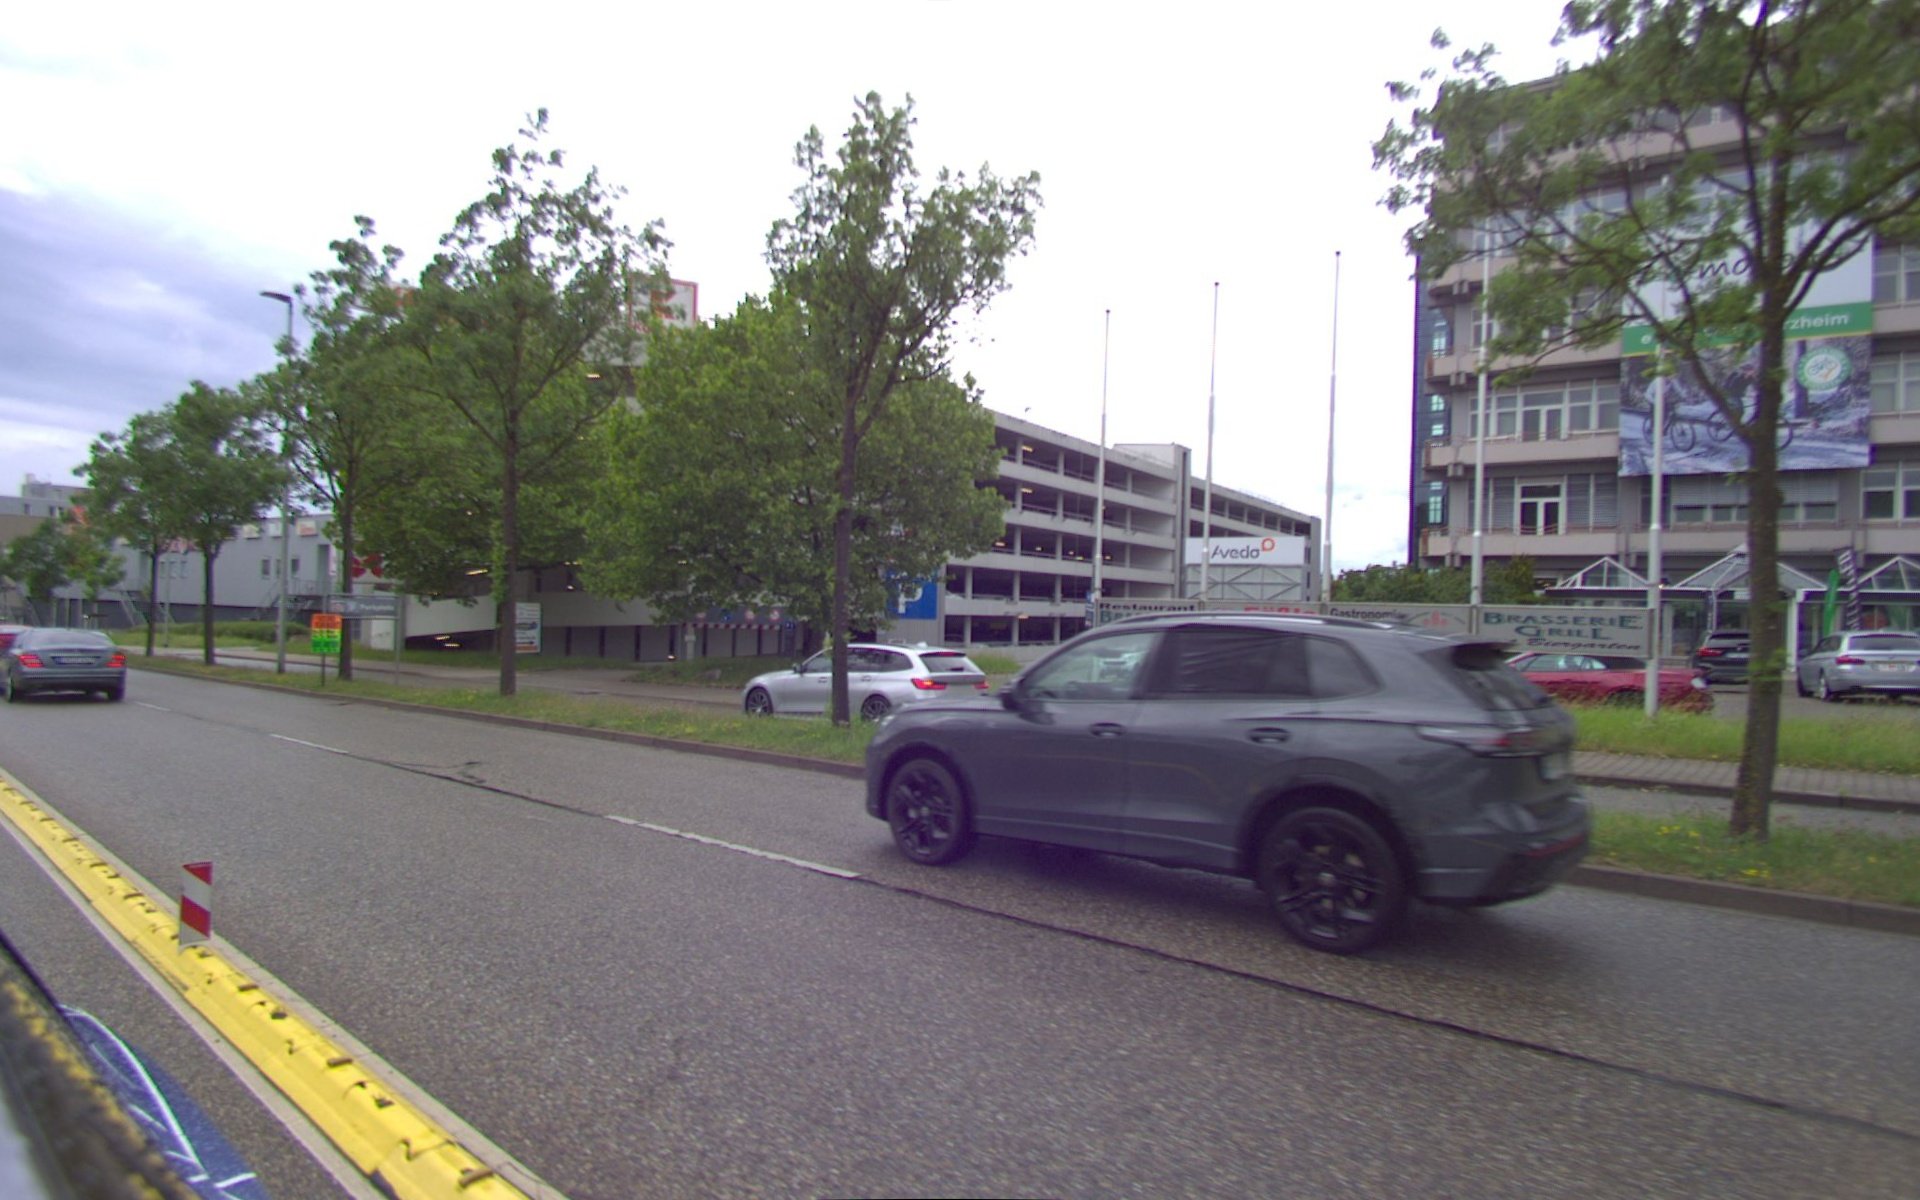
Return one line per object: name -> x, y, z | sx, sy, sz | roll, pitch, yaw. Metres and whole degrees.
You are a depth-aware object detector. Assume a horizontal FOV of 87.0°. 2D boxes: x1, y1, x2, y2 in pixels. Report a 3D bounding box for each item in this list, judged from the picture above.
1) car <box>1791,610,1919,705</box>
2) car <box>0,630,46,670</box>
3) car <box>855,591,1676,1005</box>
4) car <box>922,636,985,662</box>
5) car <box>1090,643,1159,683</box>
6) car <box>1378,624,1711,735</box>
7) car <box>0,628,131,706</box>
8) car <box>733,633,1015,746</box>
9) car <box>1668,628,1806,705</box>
car -> 19.118, 1.120, 21.231 | 1.961, 1.759, 4.563 | -3, -2, 32
car -> -36.044, 1.851, 38.322 | 4.180, 1.436, 1.743 | -1, -4, 43
car -> 1.542, 0.853, 6.150 | 4.434, 1.626, 1.769 | -1, -4, 41
car -> -0.417, 3.050, 63.278 | 3.787, 1.473, 1.754 | -1, 0, -4
car -> 5.980, 2.272, 36.568 | 1.604, 1.376, 2.676 | -3, -4, 30
car -> 9.903, 1.305, 17.384 | 4.701, 1.621, 1.916 | -3, -2, 36
car -> -18.319, 1.307, 20.467 | 4.375, 1.421, 1.649 | -1, -4, 41
car -> -1.490, 1.364, 16.394 | 4.572, 1.565, 1.848 | -1, -4, 40
car -> 20.303, 1.672, 26.667 | 2.124, 1.759, 4.568 | -3, -2, 29
